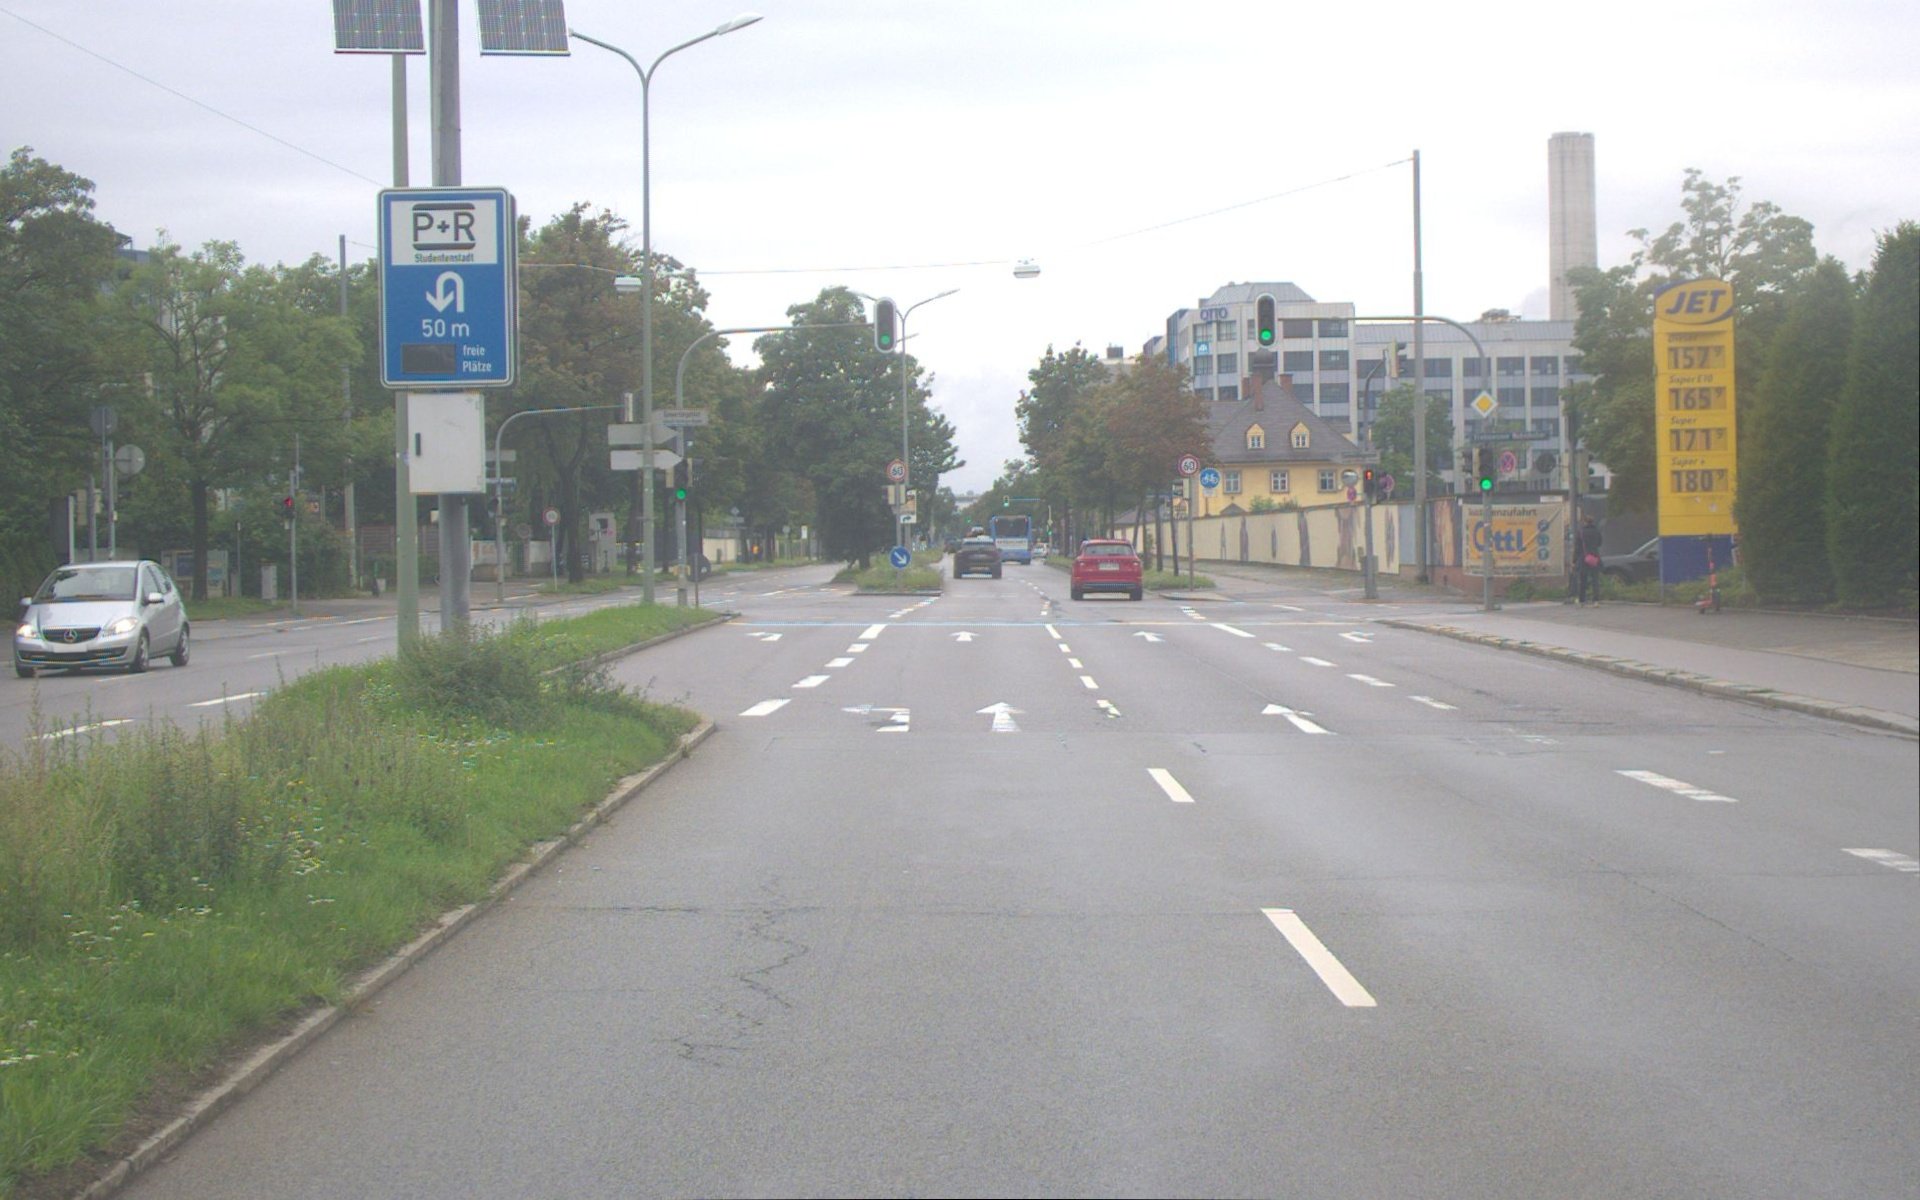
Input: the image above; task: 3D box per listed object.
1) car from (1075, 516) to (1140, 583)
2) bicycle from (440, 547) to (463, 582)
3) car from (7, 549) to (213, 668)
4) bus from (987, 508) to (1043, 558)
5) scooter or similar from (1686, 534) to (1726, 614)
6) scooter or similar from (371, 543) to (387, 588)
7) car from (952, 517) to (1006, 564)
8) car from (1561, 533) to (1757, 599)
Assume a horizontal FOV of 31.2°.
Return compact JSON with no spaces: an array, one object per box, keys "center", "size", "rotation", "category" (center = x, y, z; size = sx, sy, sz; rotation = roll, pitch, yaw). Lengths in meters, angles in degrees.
[{"center":[3.857,-1.327,90.256],"size":[1.484,1.710,3.551],"rotation":[0,1,-1],"category":"car"},{"center":[-19.042,-1.318,128.686],"size":[0.582,1.291,2.455],"rotation":[0,1,-2],"category":"bicycle"},{"center":[-12.073,0.092,49.089],"size":[1.814,1.552,4.026],"rotation":[-2,1,1],"category":"car"},{"center":[3.480,-4.293,221.197],"size":[3.220,3.116,10.346],"rotation":[0,1,-1],"category":"bus"},{"center":[11.888,-0.414,54.817],"size":[0.356,1.238,1.545],"rotation":[-3,1,5],"category":"scooter or similar"},{"center":[-18.481,-1.102,109.360],"size":[0.370,1.419,1.406],"rotation":[0,1,-15],"category":"scooter or similar"},{"center":[0.775,-2.439,141.033],"size":[2.084,1.859,4.386],"rotation":[0,1,-1],"category":"car"},{"center":[16.420,-0.801,80.908],"size":[4.251,1.423,2.000],"rotation":[-1,1,3],"category":"car"}]
